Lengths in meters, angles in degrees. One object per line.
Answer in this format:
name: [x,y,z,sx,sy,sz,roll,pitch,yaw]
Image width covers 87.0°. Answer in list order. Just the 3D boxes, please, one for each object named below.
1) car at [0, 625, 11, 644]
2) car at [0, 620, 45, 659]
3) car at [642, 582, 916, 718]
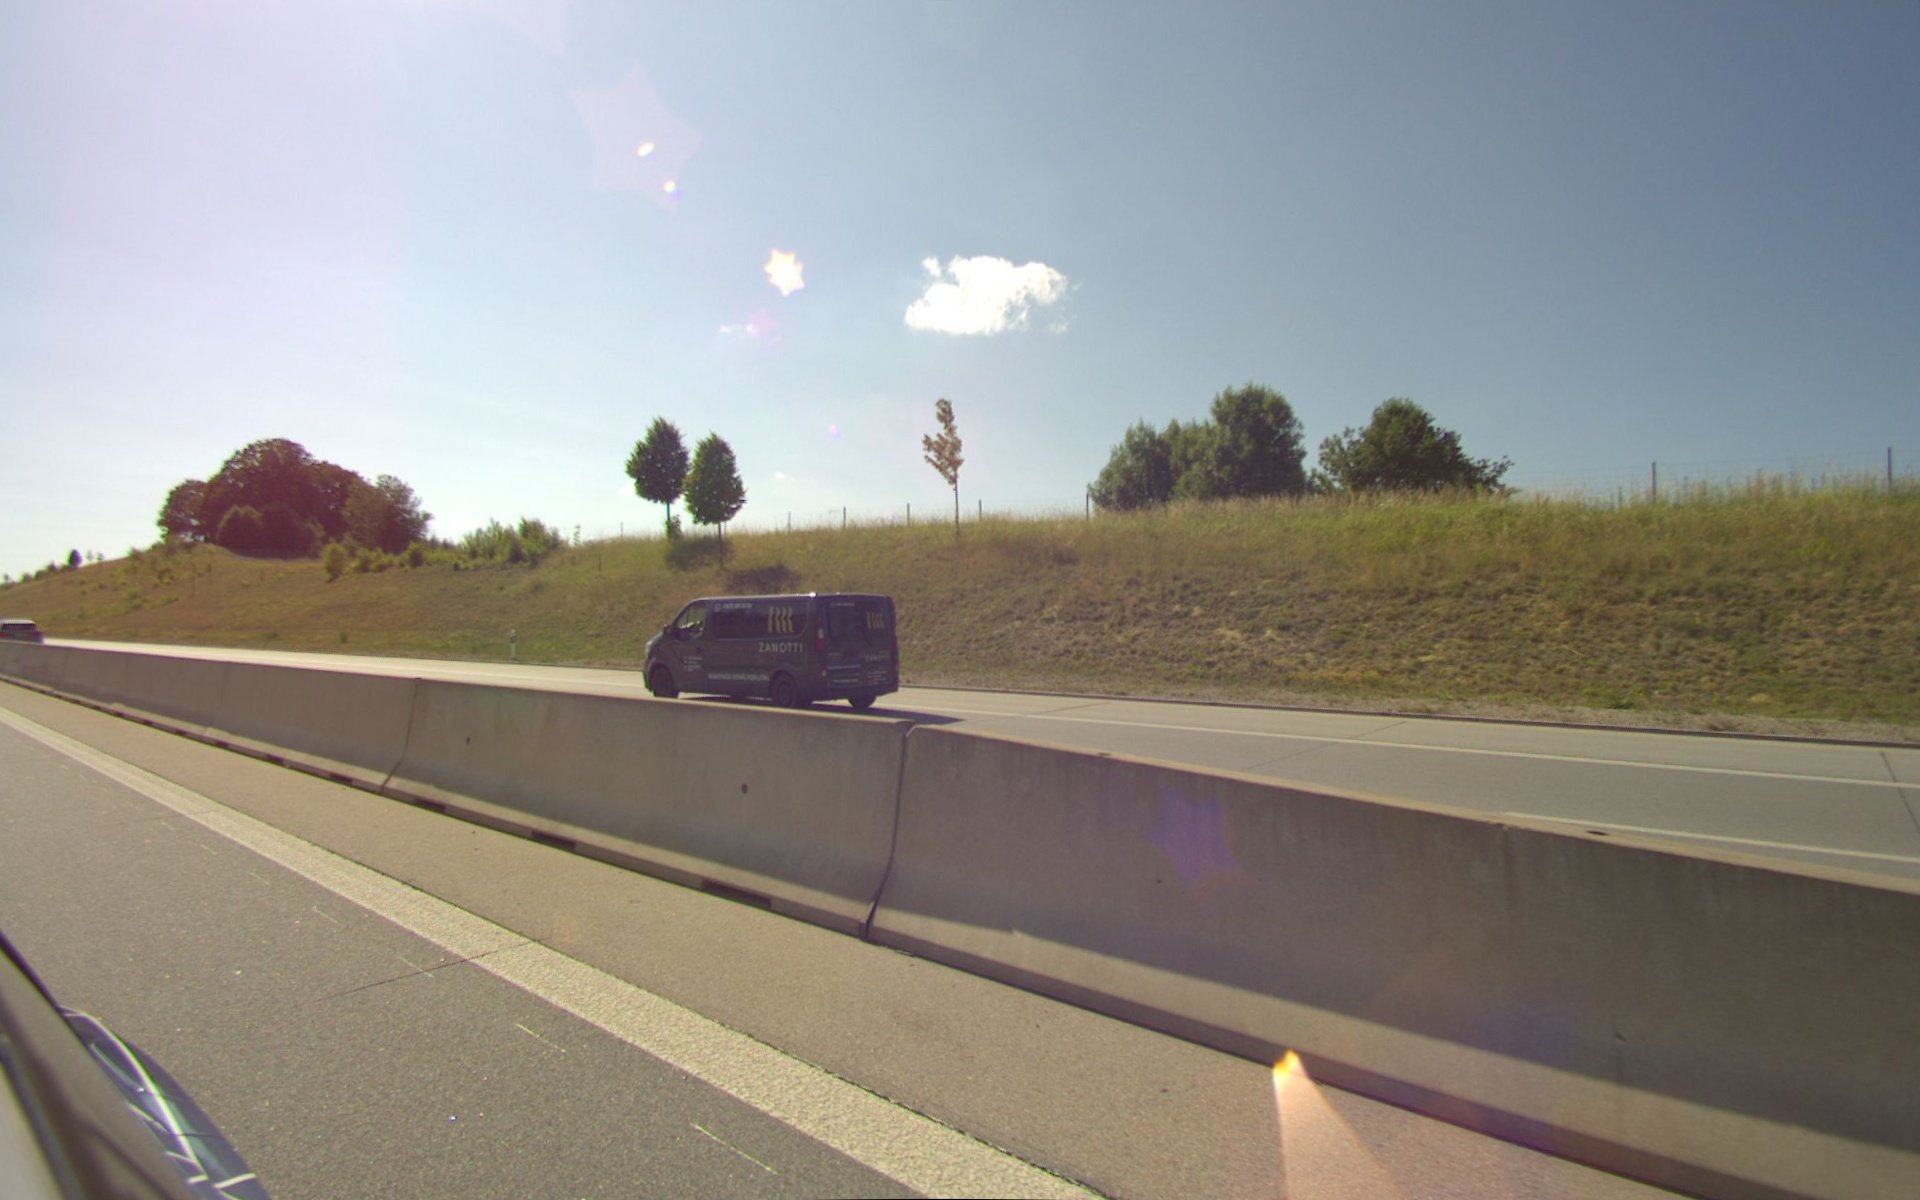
car: [-78.478,2.766,82.023,4.525,1.482,1.784,-1,-2,41]
car: [-45.726,1.892,48.742,4.883,1.745,1.911,-1,-1,41]
car: [-3.253,0.782,17.503,4.967,2.029,1.973,-1,-1,41]
